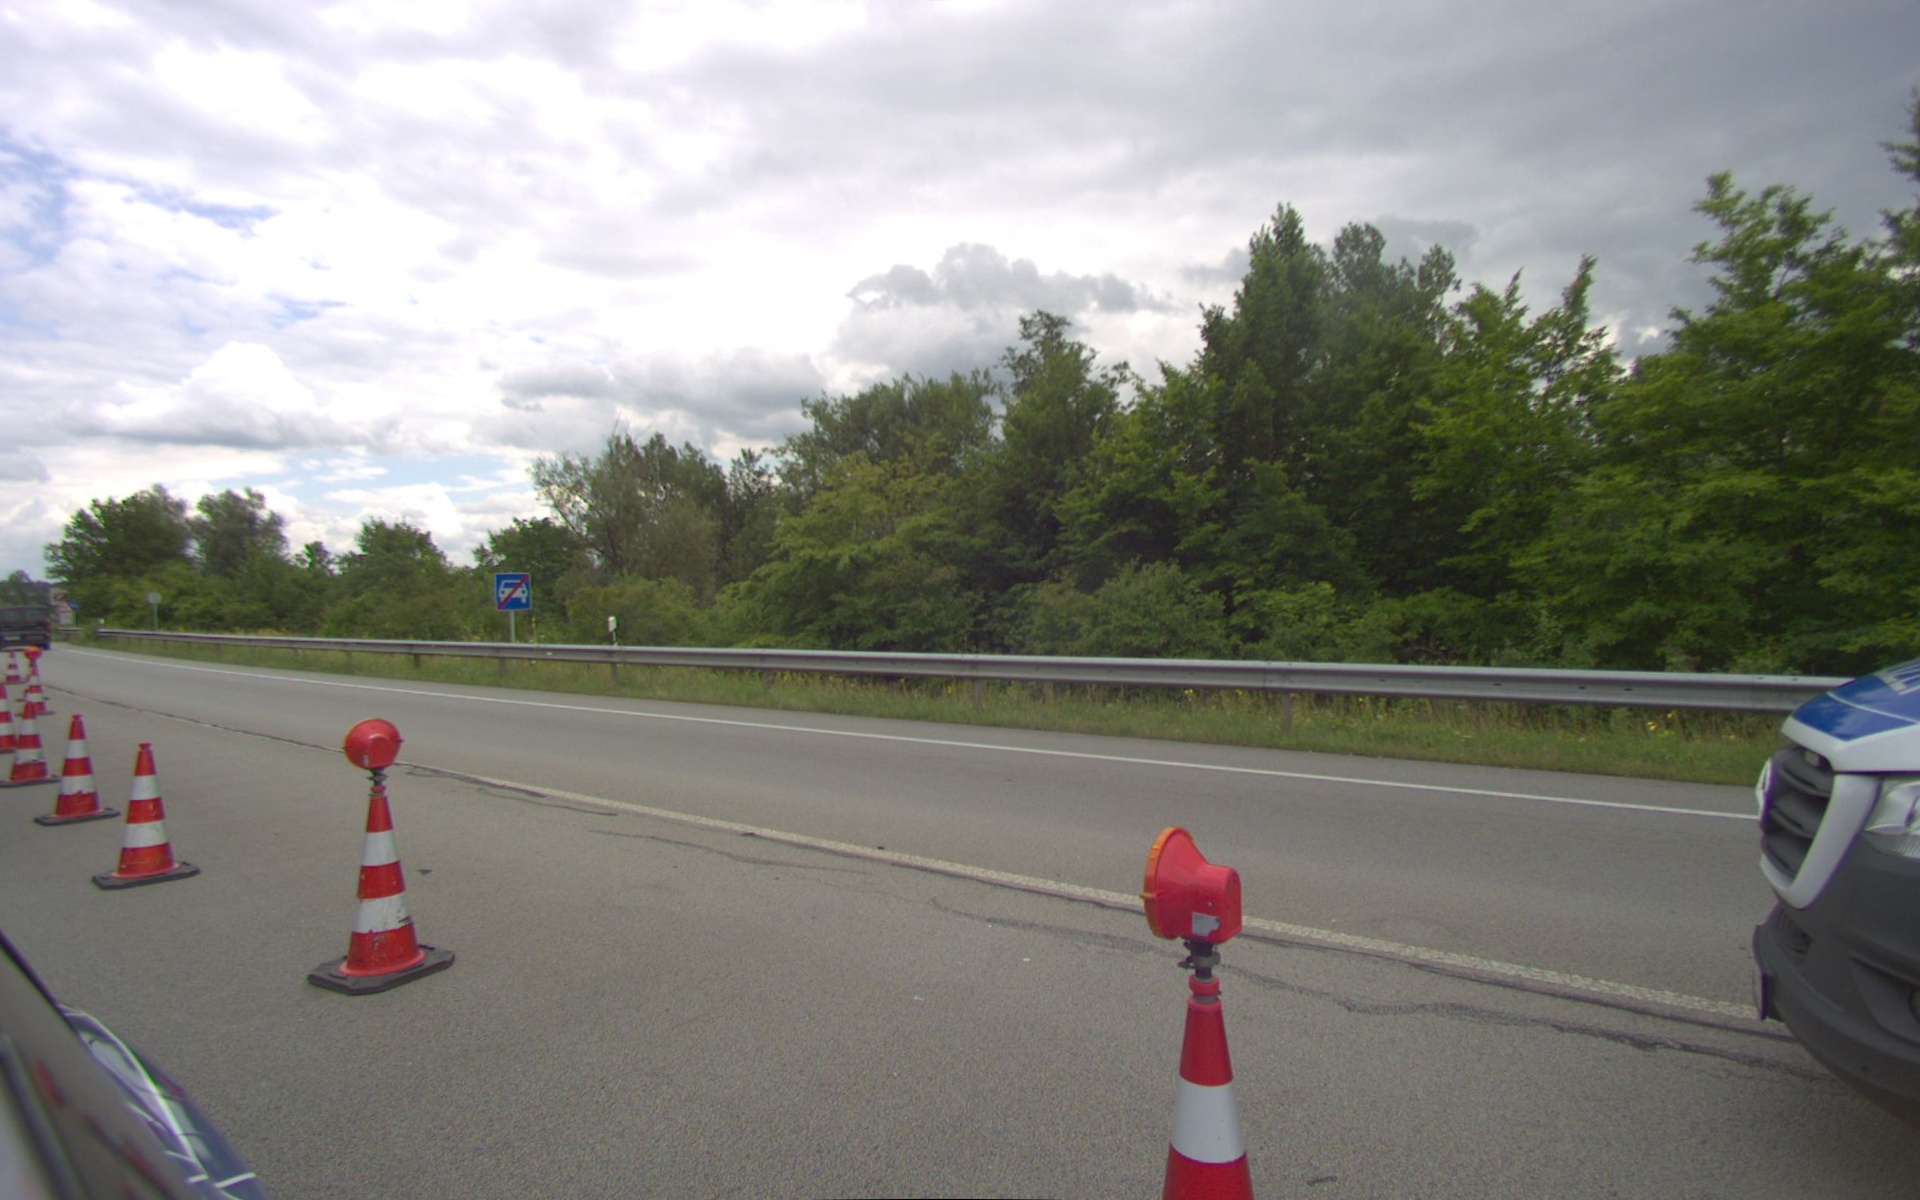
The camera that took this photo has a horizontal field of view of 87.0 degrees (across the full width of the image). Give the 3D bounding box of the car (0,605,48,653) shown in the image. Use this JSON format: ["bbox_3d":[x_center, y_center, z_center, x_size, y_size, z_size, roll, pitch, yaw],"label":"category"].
[{"bbox_3d":[-41.838,1.272,44.596,5.315,2.002,2.007,-1,-1,43],"label":"car"}]

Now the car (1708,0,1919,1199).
[{"bbox_3d":[4.199,0.104,1.202,5.271,2.482,2.010,-1,-1,38],"label":"car"}]

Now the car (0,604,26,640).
[{"bbox_3d":[-52.865,1.204,55.650,4.533,1.898,1.945,-1,-1,44],"label":"car"}]
